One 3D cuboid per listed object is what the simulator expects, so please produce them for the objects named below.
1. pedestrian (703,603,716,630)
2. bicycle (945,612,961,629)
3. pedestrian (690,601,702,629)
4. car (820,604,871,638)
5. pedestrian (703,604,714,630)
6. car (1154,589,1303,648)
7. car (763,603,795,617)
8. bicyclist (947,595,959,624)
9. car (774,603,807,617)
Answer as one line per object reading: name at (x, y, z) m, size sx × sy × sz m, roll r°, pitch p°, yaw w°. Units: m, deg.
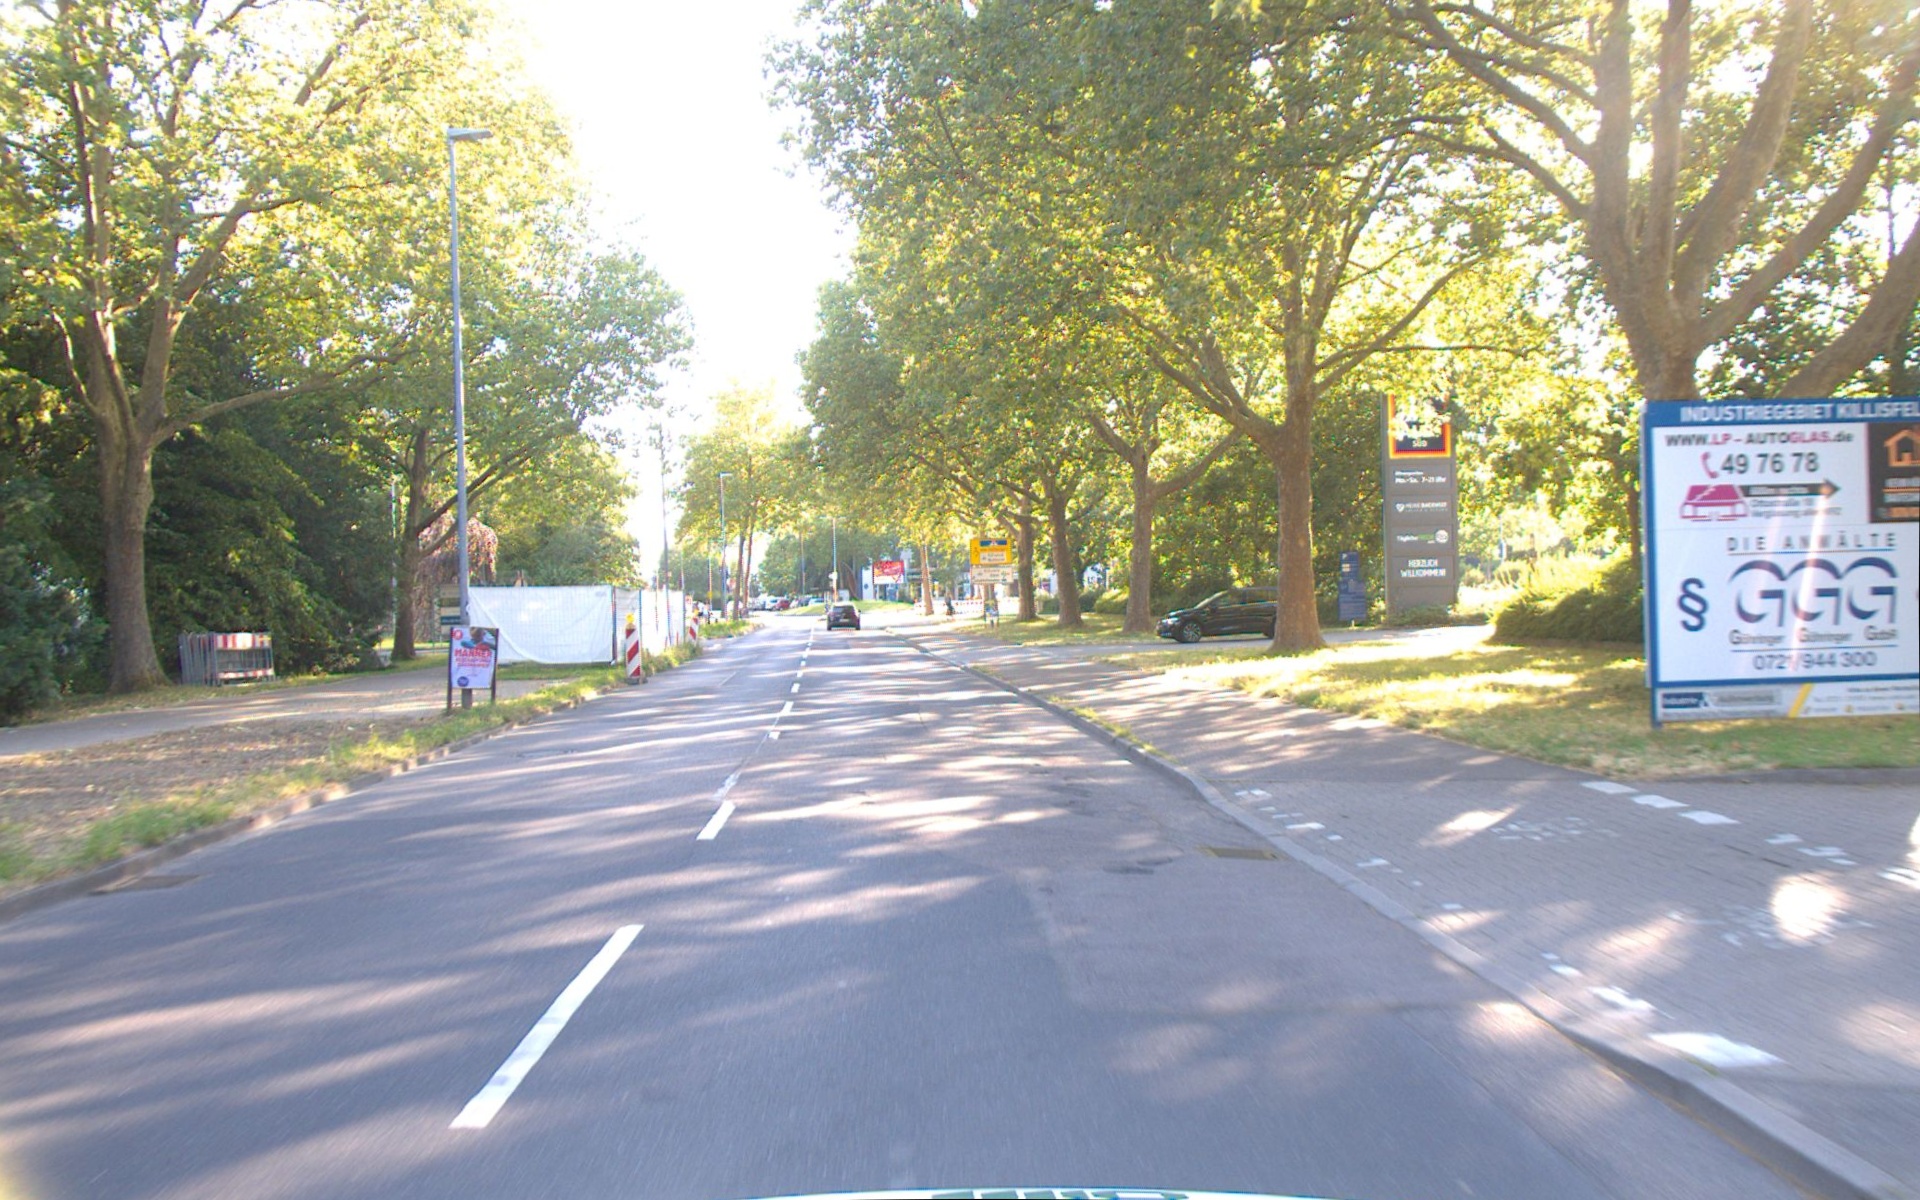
pedestrian at (-16.381, 1.065, 108.194) m, size 0.733 × 1.769 × 0.851 m, roll -2°, pitch 0°, yaw -3°
bicycle at (-0.436, 1.290, 102.682) m, size 0.755 × 0.980 × 2.172 m, roll -4°, pitch 0°, yaw -5°
pedestrian at (-17.191, 0.990, 107.784) m, size 0.620 × 1.769 × 0.664 m, roll -2°, pitch 0°, yaw -3°
car at (-6.118, 1.122, 88.515) m, size 1.800 × 1.633 × 3.866 m, roll -3°, pitch 0°, yaw 9°
pedestrian at (-16.327, 1.077, 107.390) m, size 0.620 × 1.666 × 0.576 m, roll -2°, pitch 0°, yaw -4°
car at (7.688, 0.520, 47.620) m, size 3.907 × 1.468 × 1.760 m, roll -3°, pitch 0°, yaw -2°
car at (-24.437, 1.344, 222.960) m, size 3.953 × 1.777 × 1.774 m, roll -1°, pitch 1°, yaw -35°
bicyclist at (-0.451, 0.591, 102.686) m, size 0.638 × 1.735 × 0.871 m, roll -1°, pitch 0°, yaw -4°
car at (-22.526, 1.298, 220.050) m, size 3.953 × 1.777 × 1.774 m, roll -1°, pitch 1°, yaw -35°
